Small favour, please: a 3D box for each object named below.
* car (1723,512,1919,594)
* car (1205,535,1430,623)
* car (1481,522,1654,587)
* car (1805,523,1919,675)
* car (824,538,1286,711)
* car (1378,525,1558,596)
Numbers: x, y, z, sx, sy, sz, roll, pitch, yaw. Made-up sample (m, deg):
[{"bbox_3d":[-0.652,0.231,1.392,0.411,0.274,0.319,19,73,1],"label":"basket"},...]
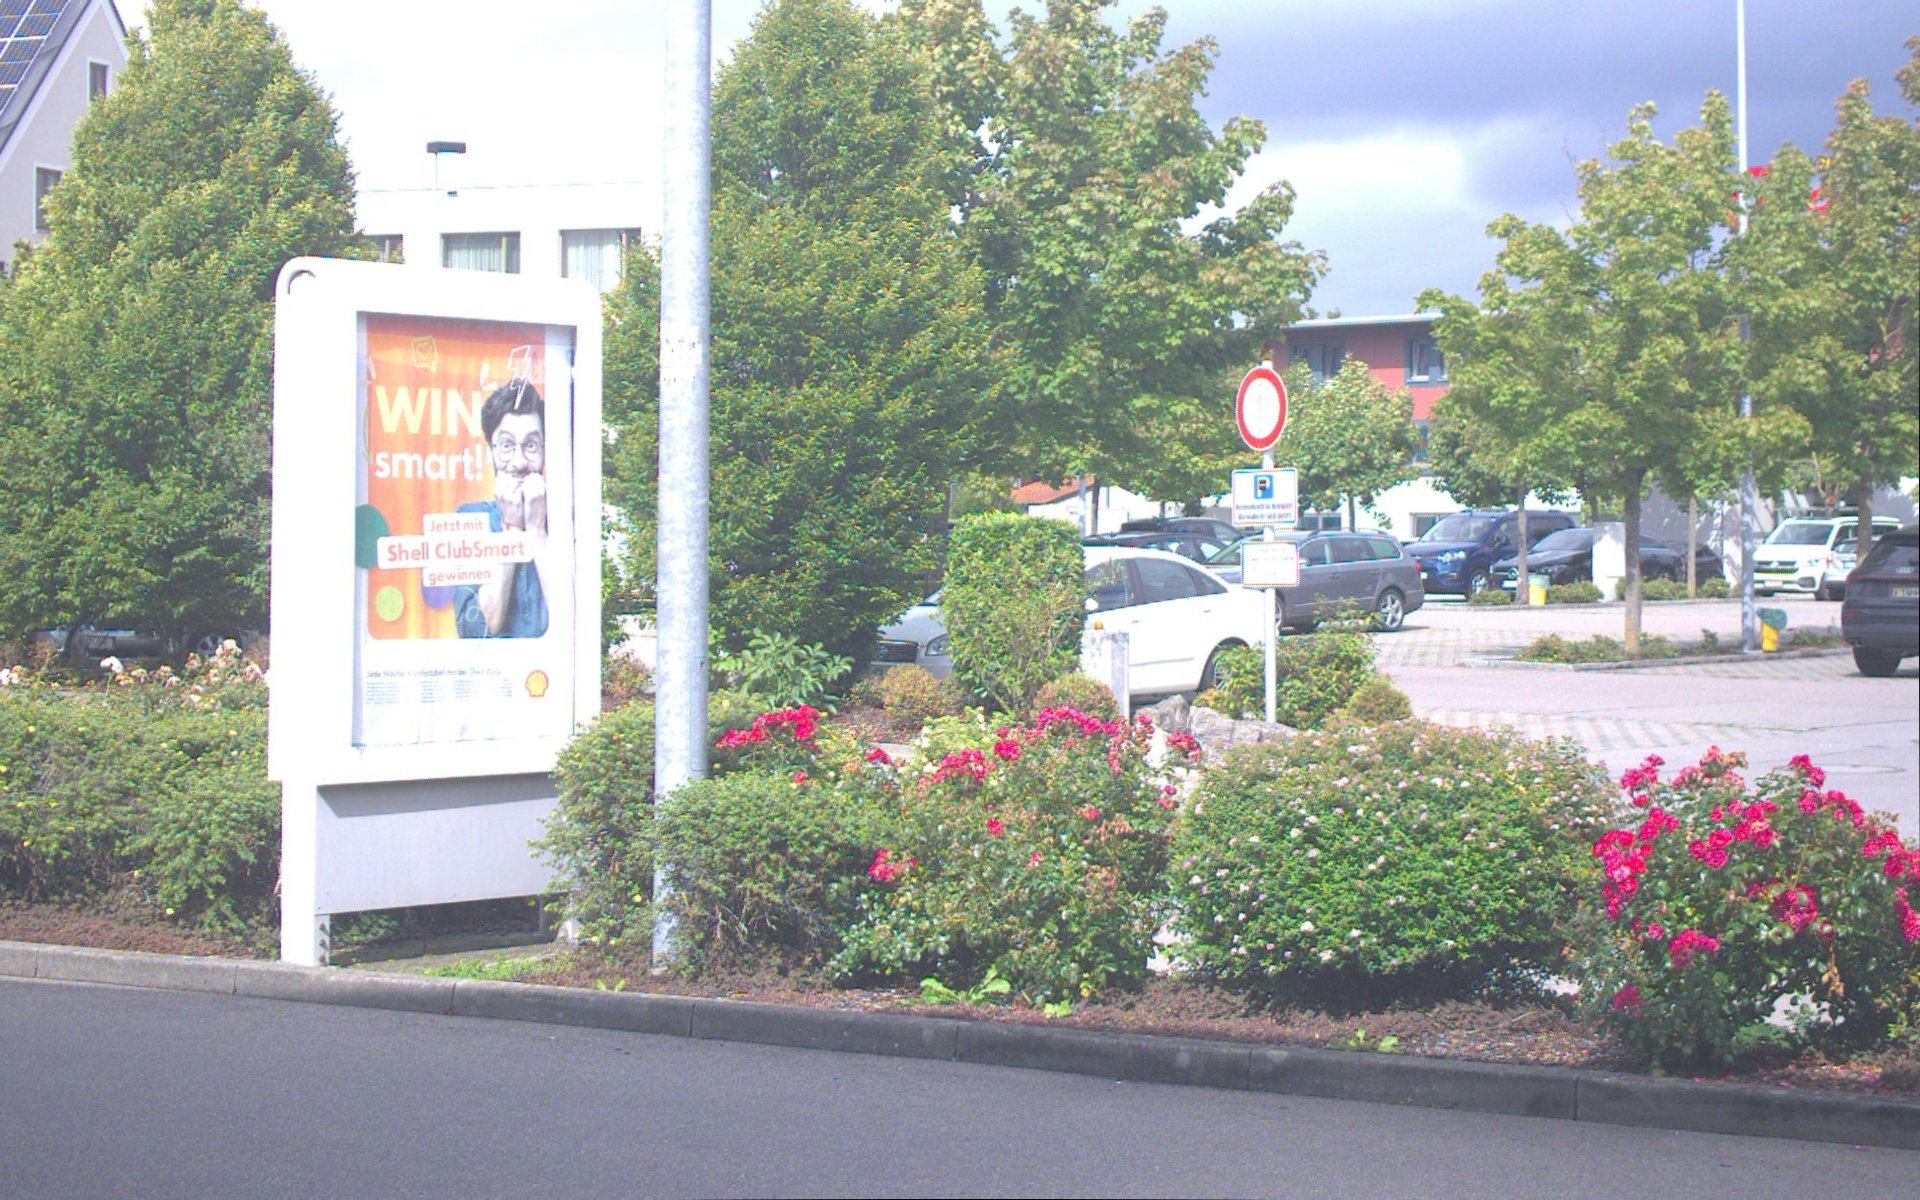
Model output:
[{"bbox_3d":[20.237,-1.092,80.648,4.864,1.827,2.184,0,1,-43],"label":"car"},{"bbox_3d":[5.192,-0.297,49.723,3.218,1.224,1.505,0,1,-44],"label":"car"},{"bbox_3d":[11.504,-0.846,65.042,3.409,1.174,1.485,0,1,-44],"label":"car"},{"bbox_3d":[11.123,-0.012,36.737,4.491,1.543,1.885,0,1,-43],"label":"car"},{"bbox_3d":[0.894,0.197,29.934,4.332,1.399,1.370,0,1,-44],"label":"car"},{"bbox_3d":[9.876,-0.766,66.790,3.379,1.316,1.747,0,1,-44],"label":"car"}]
